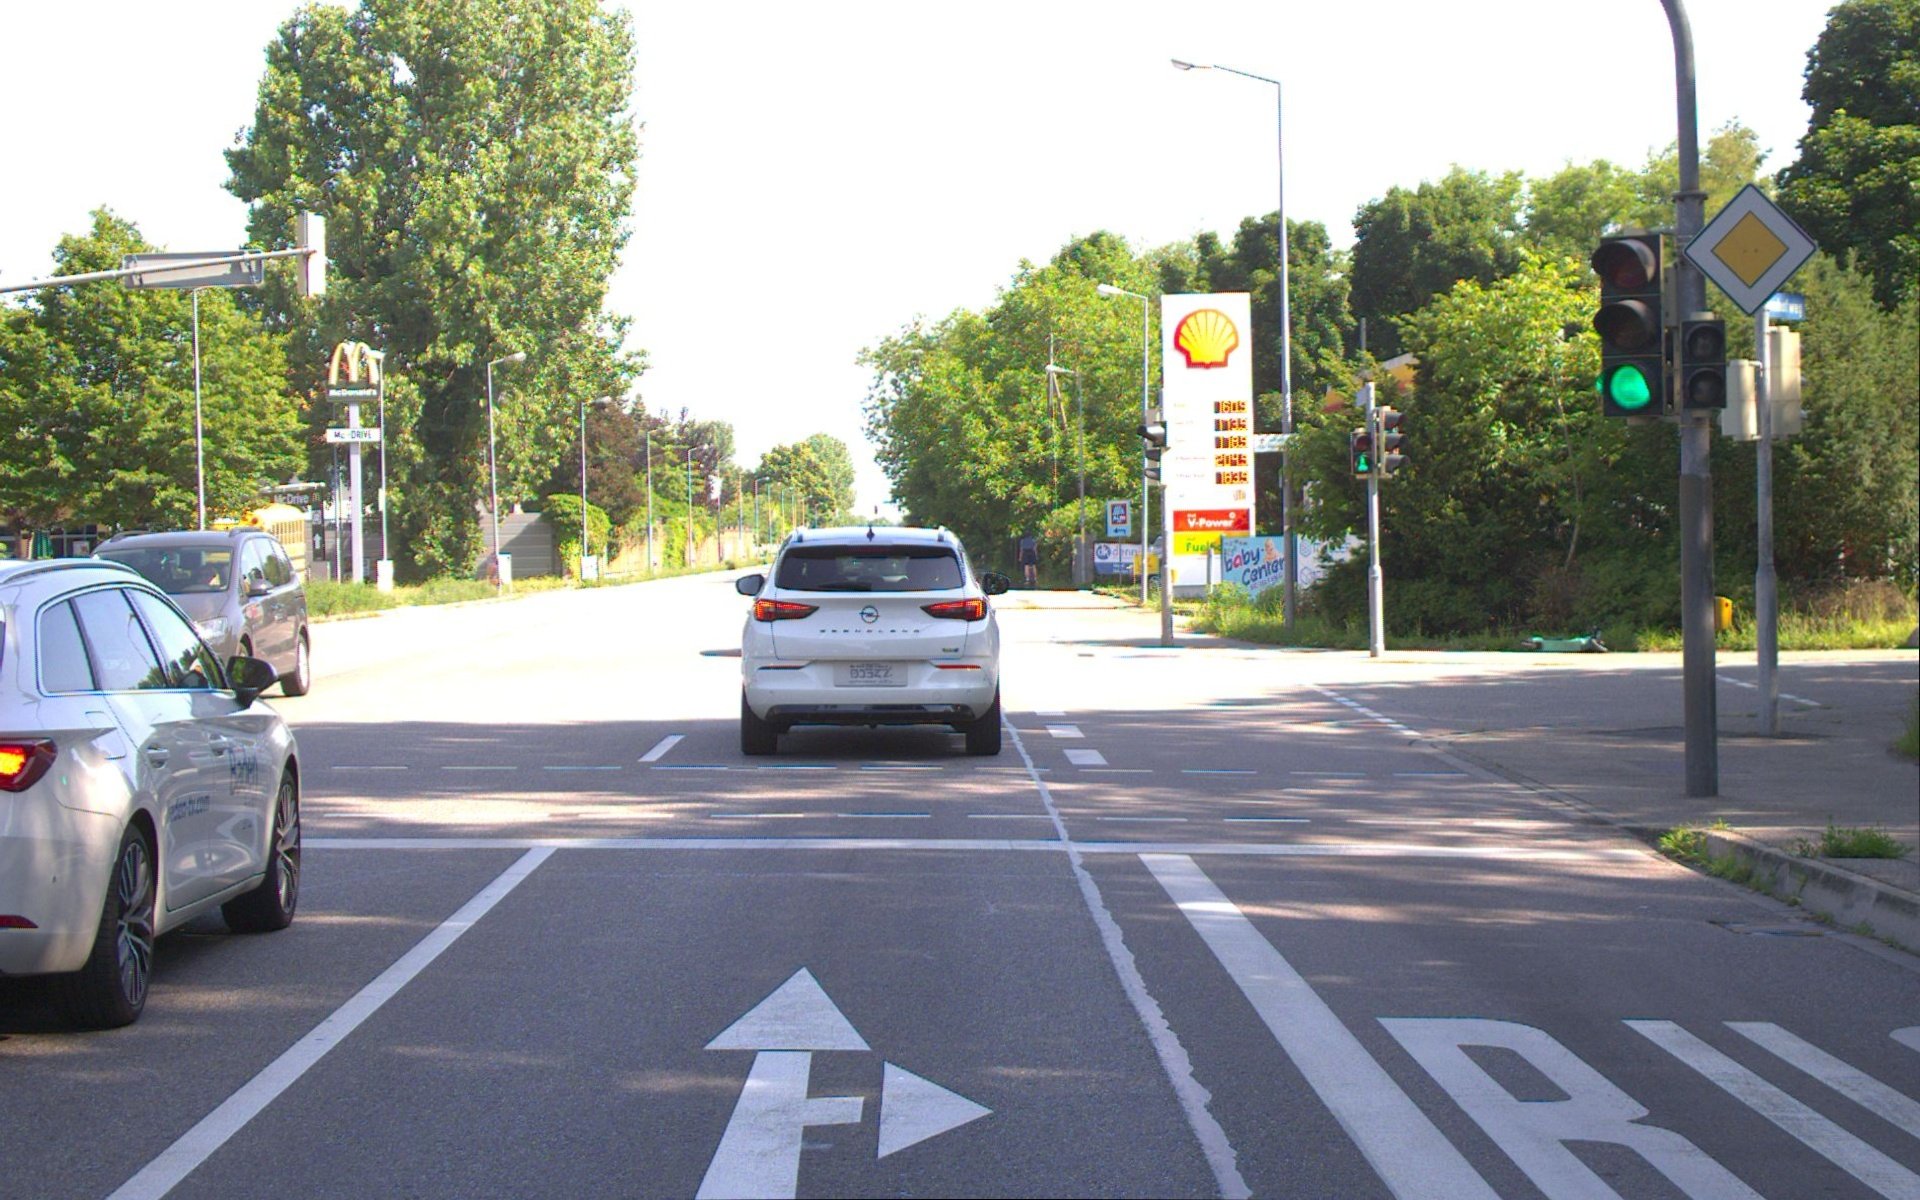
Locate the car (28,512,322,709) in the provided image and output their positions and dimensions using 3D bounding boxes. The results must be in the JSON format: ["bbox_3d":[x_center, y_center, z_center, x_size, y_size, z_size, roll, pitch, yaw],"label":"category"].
[{"bbox_3d":[-7.423,0.073,32.920,1.791,1.691,4.392,-2,1,-1],"label":"car"}]

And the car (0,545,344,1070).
[{"bbox_3d":[-3.356,0.531,11.626,1.784,1.419,4.423,1,1,-1],"label":"car"}]

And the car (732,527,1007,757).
[{"bbox_3d":[-0.638,0.261,25.441,1.847,1.536,4.225,1,1,-1],"label":"car"}]

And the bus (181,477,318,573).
[{"bbox_3d":[-20.980,-2.172,101.936,2.579,2.670,8.998,1,1,-3],"label":"bus"}]

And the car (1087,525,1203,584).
[{"bbox_3d":[4.938,-1.202,92.002,2.729,1.525,1.574,0,0,44],"label":"car"}]
